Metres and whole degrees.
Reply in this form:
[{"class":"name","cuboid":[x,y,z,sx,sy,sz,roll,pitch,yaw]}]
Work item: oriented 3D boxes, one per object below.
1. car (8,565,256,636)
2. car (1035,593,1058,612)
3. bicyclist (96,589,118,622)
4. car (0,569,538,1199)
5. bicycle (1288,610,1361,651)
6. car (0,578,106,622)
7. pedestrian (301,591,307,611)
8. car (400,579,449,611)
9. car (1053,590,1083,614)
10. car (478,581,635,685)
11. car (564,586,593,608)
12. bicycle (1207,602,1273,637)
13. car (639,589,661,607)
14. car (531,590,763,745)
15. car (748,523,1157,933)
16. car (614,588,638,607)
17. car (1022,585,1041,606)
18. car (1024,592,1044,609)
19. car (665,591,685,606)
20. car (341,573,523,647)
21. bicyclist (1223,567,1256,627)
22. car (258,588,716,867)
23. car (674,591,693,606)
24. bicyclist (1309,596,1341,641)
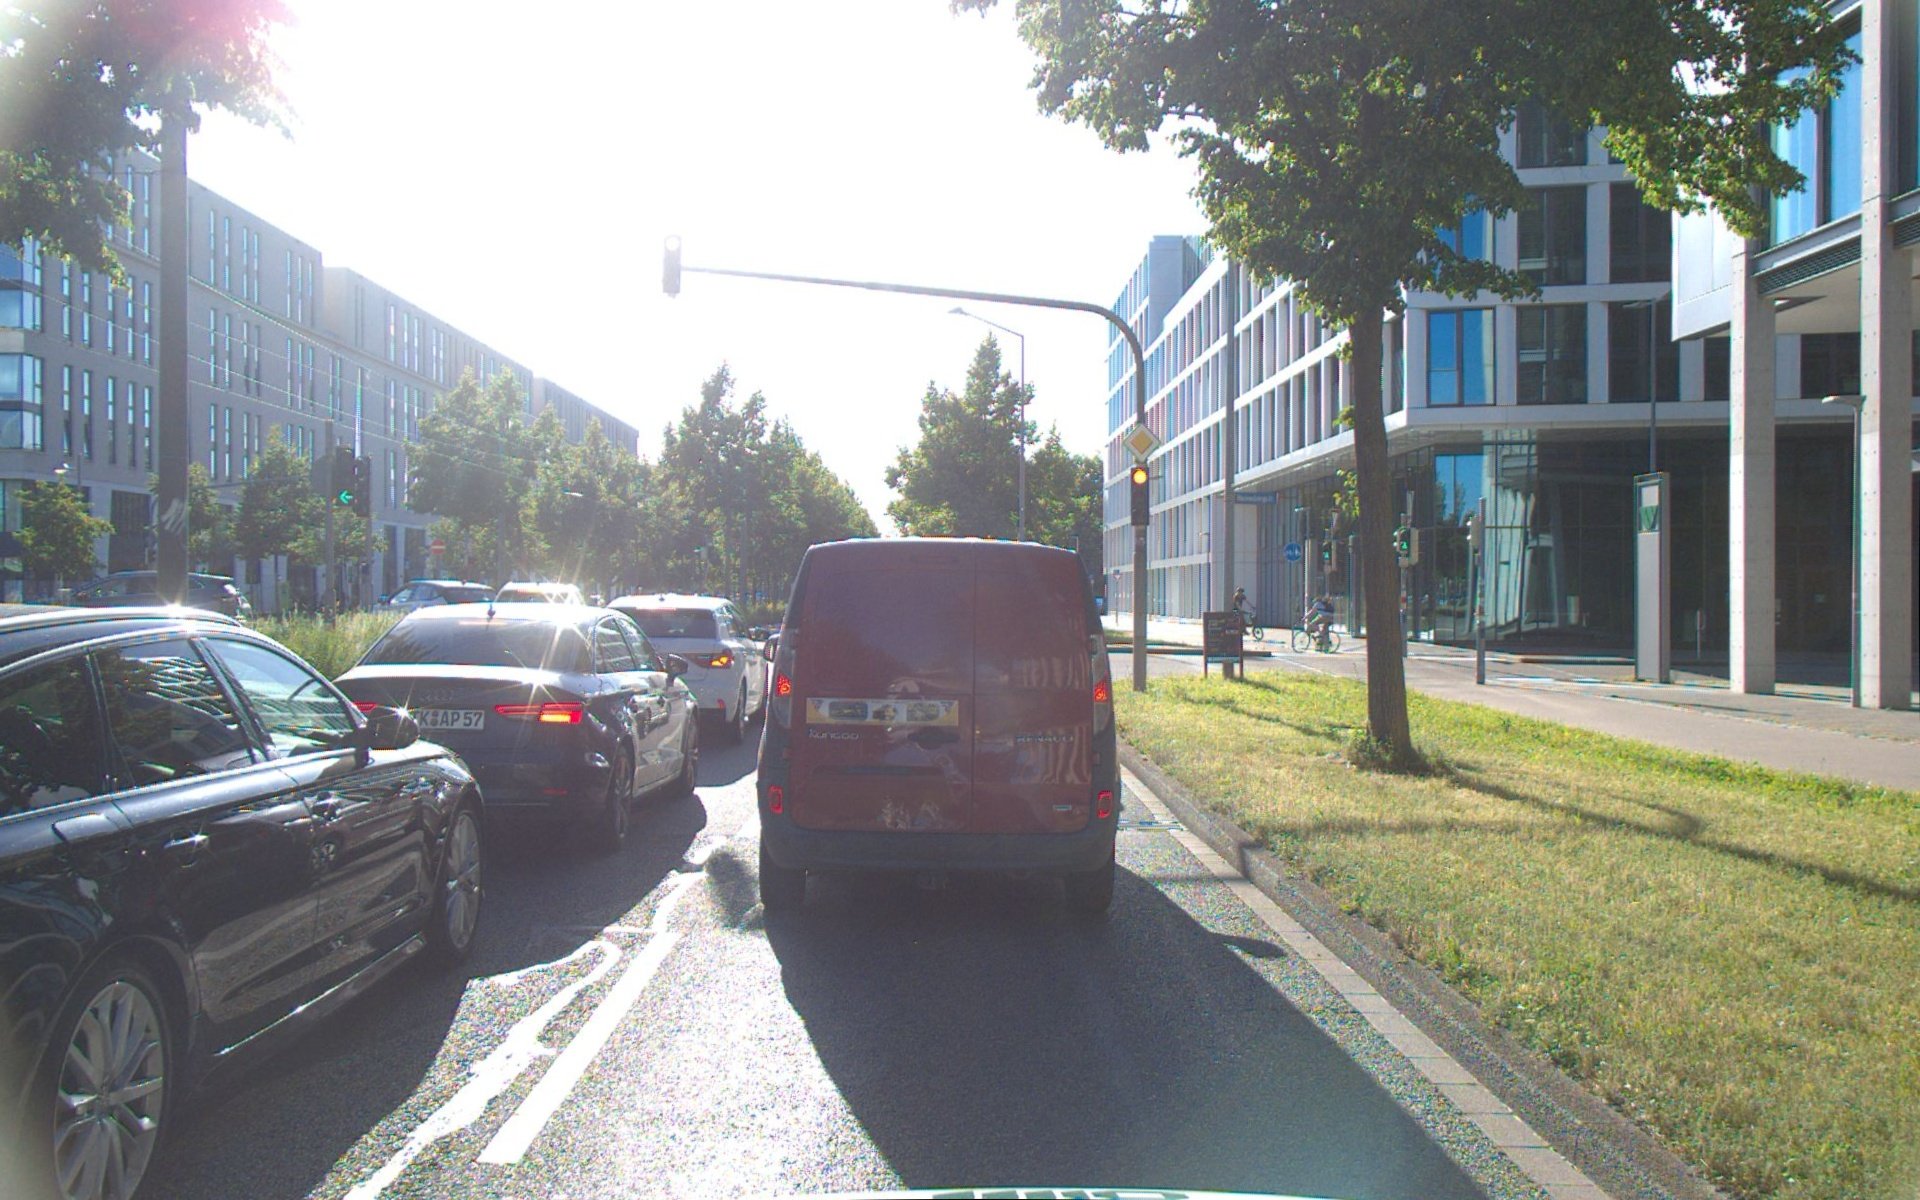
[{"class":"car","cuboid":[-17.762,0.014,35.691,4.477,1.473,1.798,0,0,-15]},{"class":"car","cuboid":[8.418,0.228,160.736,1.953,1.813,3.999,0,0,-1]},{"class":"bicyclist","cuboid":[-40.391,0.252,78.328,0.663,1.556,0.714,0,0,-1]},{"class":"car","cuboid":[-2.778,0.685,5.084,1.836,1.510,4.965,0,0,-2]},{"class":"bicycle","cuboid":[10.631,0.871,48.409,0.805,1.134,2.832,0,0,-17]},{"class":"car","cuboid":[-33.199,-0.027,60.646,1.729,1.546,3.999,0,0,-1]},{"class":"pedestrian","cuboid":[-44.103,0.068,111.169,0.290,1.378,0.278,0,0,-1]},{"class":"car","cuboid":[-35.286,-0.312,109.103,1.953,2.049,3.999,0,0,-1]},{"class":"car","cuboid":[8.326,0.143,127.968,1.953,1.813,3.999,0,0,-1]},{"class":"car","cuboid":[-6.612,0.494,27.505,1.484,1.518,4.215,3,0,0]},{"class":"car","cuboid":[-36.387,-0.320,157.867,1.953,2.049,3.999,0,0,-1]},{"class":"bicycle","cuboid":[10.095,0.676,59.766,0.805,1.211,2.925,0,0,-27]},{"class":"car","cuboid":[-37.220,-0.253,198.654,1.953,2.049,3.999,0,0,-1]},{"class":"car","cuboid":[-3.180,0.627,17.523,1.767,1.451,3.900,0,0,-1]},{"class":"car","cuboid":[-0.063,0.558,9.334,1.804,1.812,3.999,0,0,-1]},{"class":"car","cuboid":[-36.723,-0.274,181.847,1.953,2.049,3.999,0,0,-1]},{"class":"car","cuboid":[8.576,-0.525,198.457,1.953,2.540,4.986,0,0,-1]},{"class":"car","cuboid":[8.062,0.059,179.931,1.953,1.813,3.999,0,0,-1]},{"class":"car","cuboid":[-37.360,-0.214,216.669,1.953,2.049,3.999,0,0,-1]},{"class":"car","cuboid":[-11.144,0.183,34.765,4.492,1.473,1.792,0,0,45]},{"class":"bicyclist","cuboid":[10.095,-0.109,59.773,0.806,2.129,0.934,0,0,-28]},{"class":"car","cuboid":[-2.789,0.657,10.821,1.804,1.451,4.338,0,0,-1]},{"class":"car","cuboid":[-37.172,-0.192,222.295,1.953,2.049,3.999,0,0,-1]},{"class":"bicyclist","cuboid":[10.641,0.527,48.219,0.801,1.297,0.683,0,0,1]}]
